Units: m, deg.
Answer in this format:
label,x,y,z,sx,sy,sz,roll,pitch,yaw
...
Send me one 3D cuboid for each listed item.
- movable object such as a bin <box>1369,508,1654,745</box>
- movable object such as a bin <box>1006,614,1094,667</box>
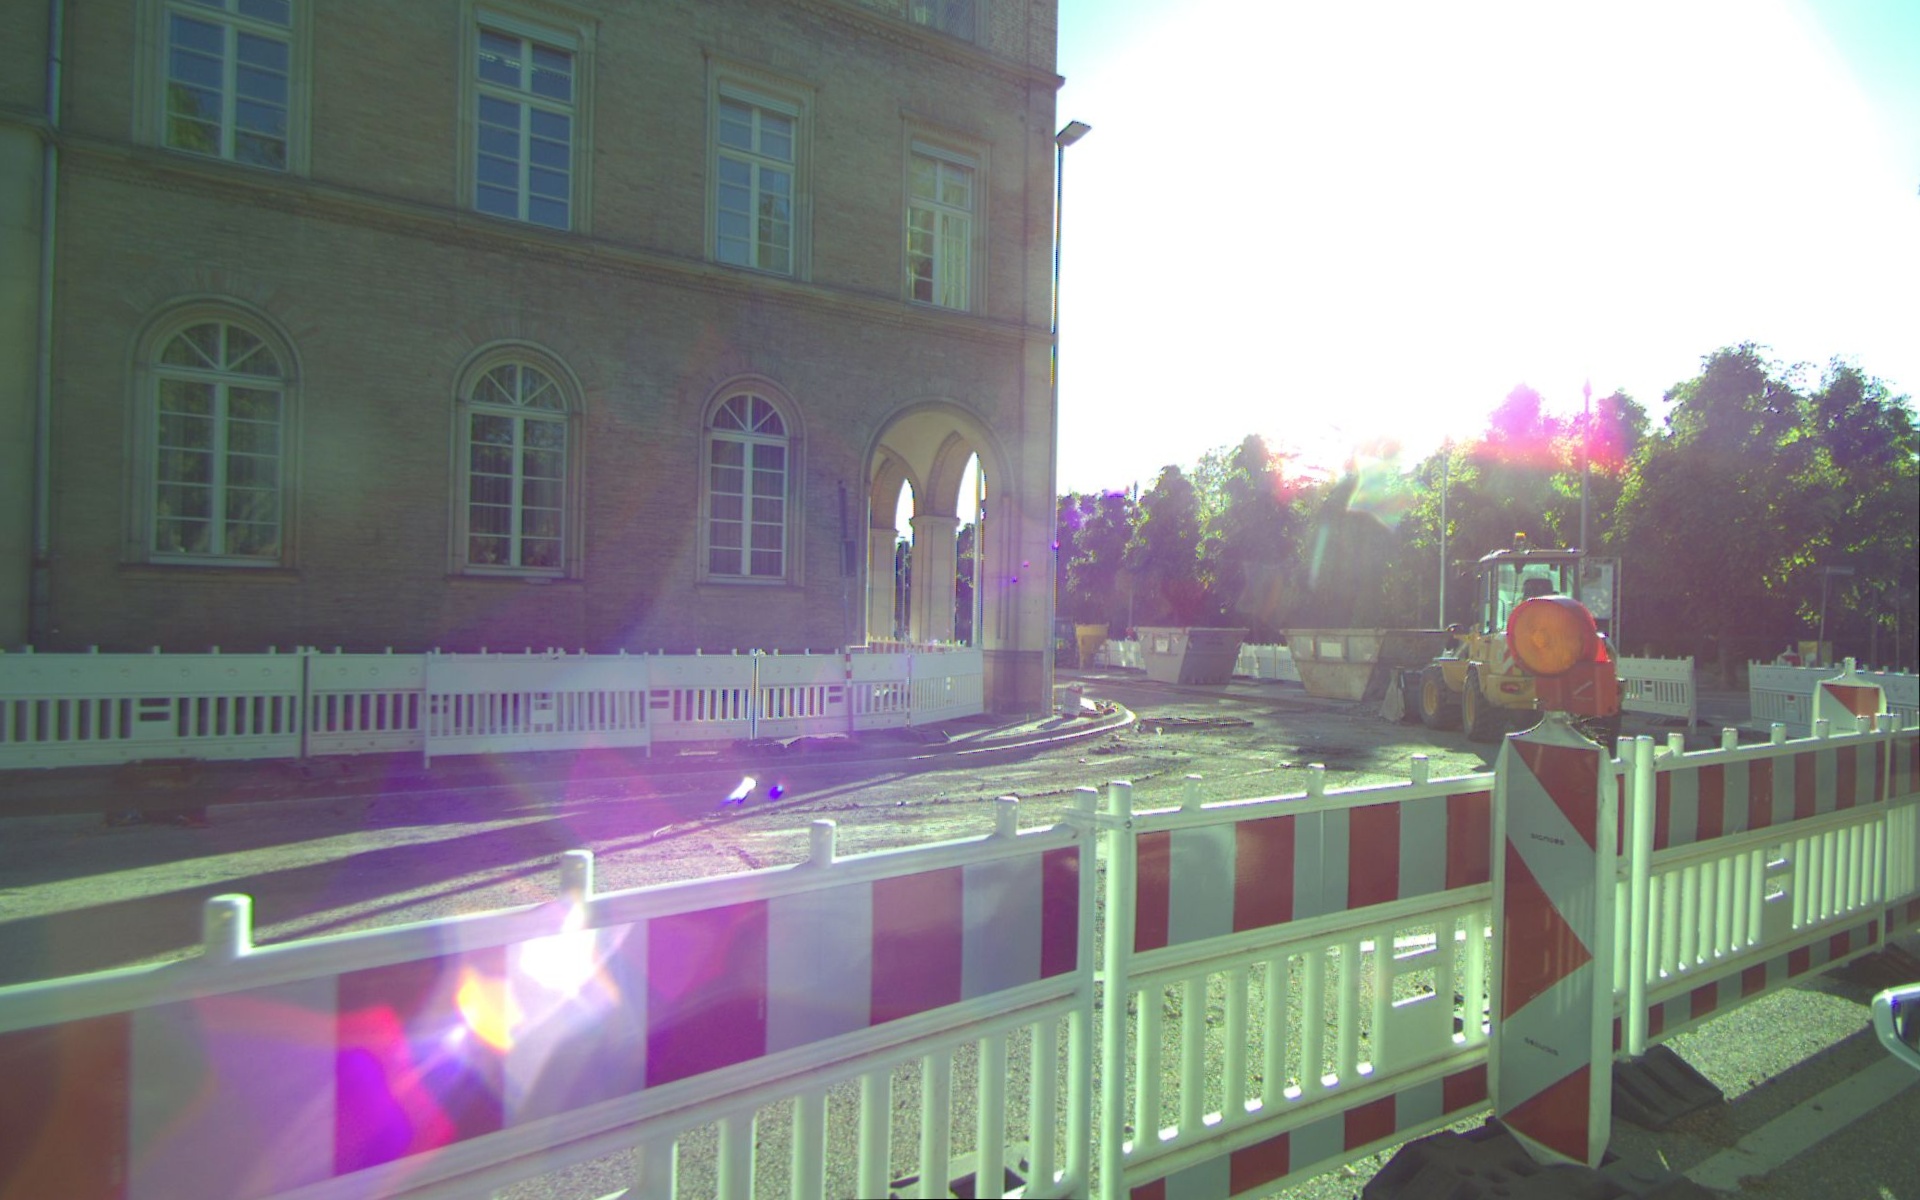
label,x,y,z,sx,sy,sz,roll,pitch,yaw
movable object such as a bin,8.456,0.450,16.236,2.515,3.071,5.936,0,-2,13
movable object such as a bin,3.541,1.585,40.396,2.024,1.975,4.318,1,0,-17
